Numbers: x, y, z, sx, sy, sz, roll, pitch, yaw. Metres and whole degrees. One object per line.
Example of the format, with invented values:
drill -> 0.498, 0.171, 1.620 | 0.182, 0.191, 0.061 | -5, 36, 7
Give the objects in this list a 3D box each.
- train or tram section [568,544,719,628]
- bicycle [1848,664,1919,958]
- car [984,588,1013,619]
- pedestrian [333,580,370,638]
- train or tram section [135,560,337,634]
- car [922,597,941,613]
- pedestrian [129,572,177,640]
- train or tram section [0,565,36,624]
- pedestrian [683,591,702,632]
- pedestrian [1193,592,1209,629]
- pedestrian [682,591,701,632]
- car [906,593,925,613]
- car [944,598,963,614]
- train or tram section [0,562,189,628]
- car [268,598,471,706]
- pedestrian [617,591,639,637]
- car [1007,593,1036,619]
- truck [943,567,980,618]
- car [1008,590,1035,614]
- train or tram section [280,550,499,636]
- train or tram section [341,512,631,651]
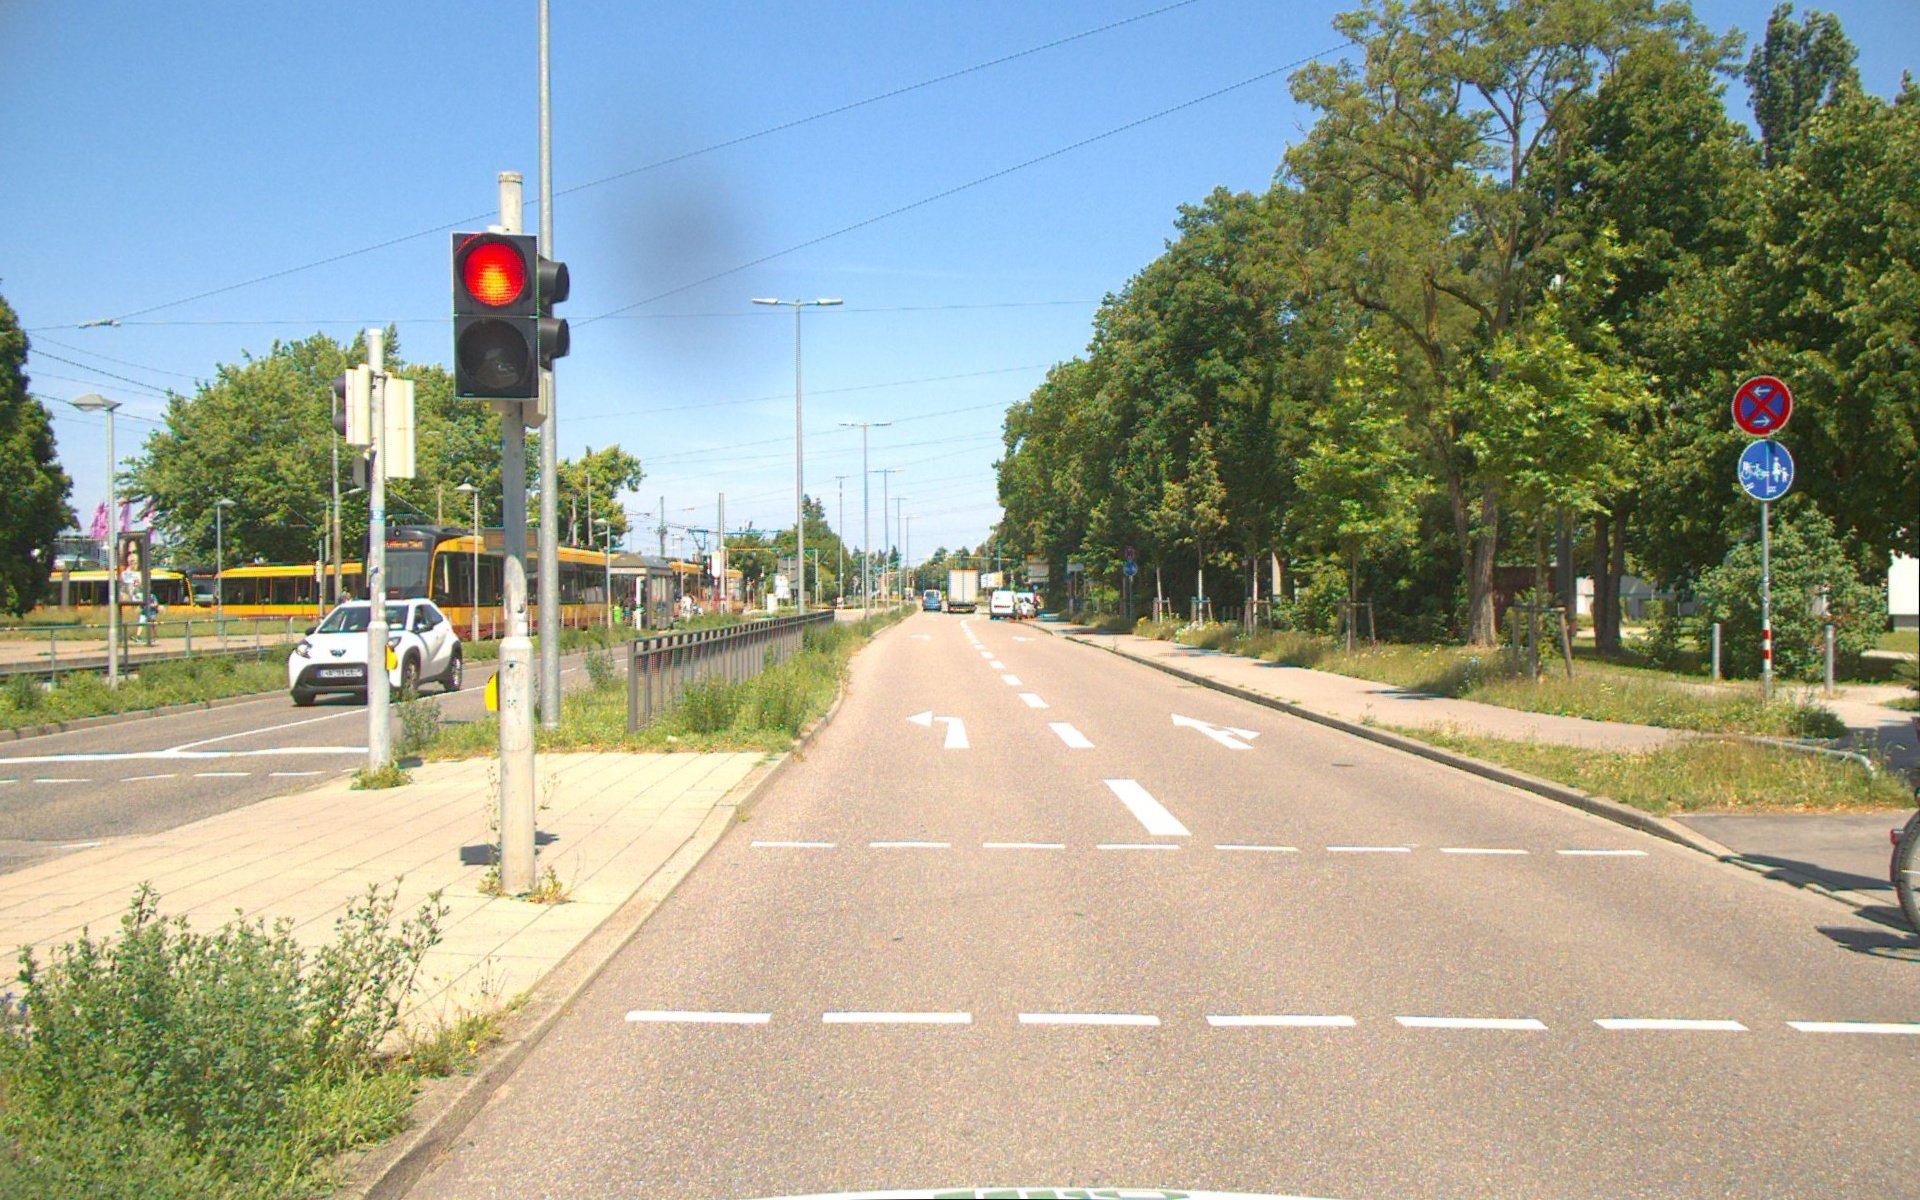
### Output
train or tram section -> -16.898, -0.697, 92.234 | 2.872, 3.856, 33.077 | 0, 0, -1
bicycle -> 4.860, 0.849, 6.914 | 1.916, 1.182, 0.541 | -2, -1, 9
car -> 2.444, 0.215, 105.545 | 1.743, 1.937, 3.999 | 0, 0, -1
pedestrian -> -21.965, 0.321, 59.712 | 0.961, 2.049, 1.021 | 0, 0, -1
train or tram section -> -42.748, -0.161, 97.007 | 18.156, 4.000, 3.209 | 0, 0, 40
car -> -2.700, 0.514, 157.831 | 1.774, 1.490, 3.999 | 0, 0, -1
pedestrian -> -24.549, 0.182, 50.336 | 0.961, 2.049, 1.021 | 0, 0, -1
train or tram section -> -72.555, -0.331, 117.602 | 18.094, 4.000, 3.220 | 0, 0, 30
pedestrian -> -13.473, 0.587, 83.434 | 0.798, 2.049, 0.938 | 0, 0, -1
pedestrian -> 9.437, 0.404, 64.642 | 0.591, 1.463, 0.556 | 0, 0, 6
pedestrian -> -13.750, 0.587, 84.723 | 0.798, 2.049, 0.938 | 0, 0, -1
car -> -4.714, 0.323, 175.084 | 1.953, 2.049, 3.999 | 0, 0, -1
car -> -0.605, 0.555, 153.595 | 1.774, 1.490, 3.999 | 0, 0, -1
train or tram section -> -56.621, -0.300, 107.394 | 18.121, 4.000, 3.215 | 0, 0, 35
car -> -8.997, 0.746, 25.529 | 1.807, 1.521, 3.790 | 0, 0, -1
pedestrian -> -13.855, 0.590, 69.075 | 0.769, 1.901, 0.817 | 0, 0, -1
car -> 4.172, 0.392, 112.499 | 1.743, 1.698, 3.999 | 0, 0, -1
truck -> 0.057, -0.649, 146.117 | 3.140, 4.435, 6.559 | 0, 0, -1
car -> 4.395, 0.112, 118.850 | 1.743, 1.698, 3.999 | 0, 0, -1
train or tram section -> -29.416, -0.332, 84.266 | 3.202, 4.000, 18.198 | 0, 0, -44
train or tram section -> -16.099, -0.563, 60.803 | 2.898, 3.815, 30.022 | 0, 0, -2
